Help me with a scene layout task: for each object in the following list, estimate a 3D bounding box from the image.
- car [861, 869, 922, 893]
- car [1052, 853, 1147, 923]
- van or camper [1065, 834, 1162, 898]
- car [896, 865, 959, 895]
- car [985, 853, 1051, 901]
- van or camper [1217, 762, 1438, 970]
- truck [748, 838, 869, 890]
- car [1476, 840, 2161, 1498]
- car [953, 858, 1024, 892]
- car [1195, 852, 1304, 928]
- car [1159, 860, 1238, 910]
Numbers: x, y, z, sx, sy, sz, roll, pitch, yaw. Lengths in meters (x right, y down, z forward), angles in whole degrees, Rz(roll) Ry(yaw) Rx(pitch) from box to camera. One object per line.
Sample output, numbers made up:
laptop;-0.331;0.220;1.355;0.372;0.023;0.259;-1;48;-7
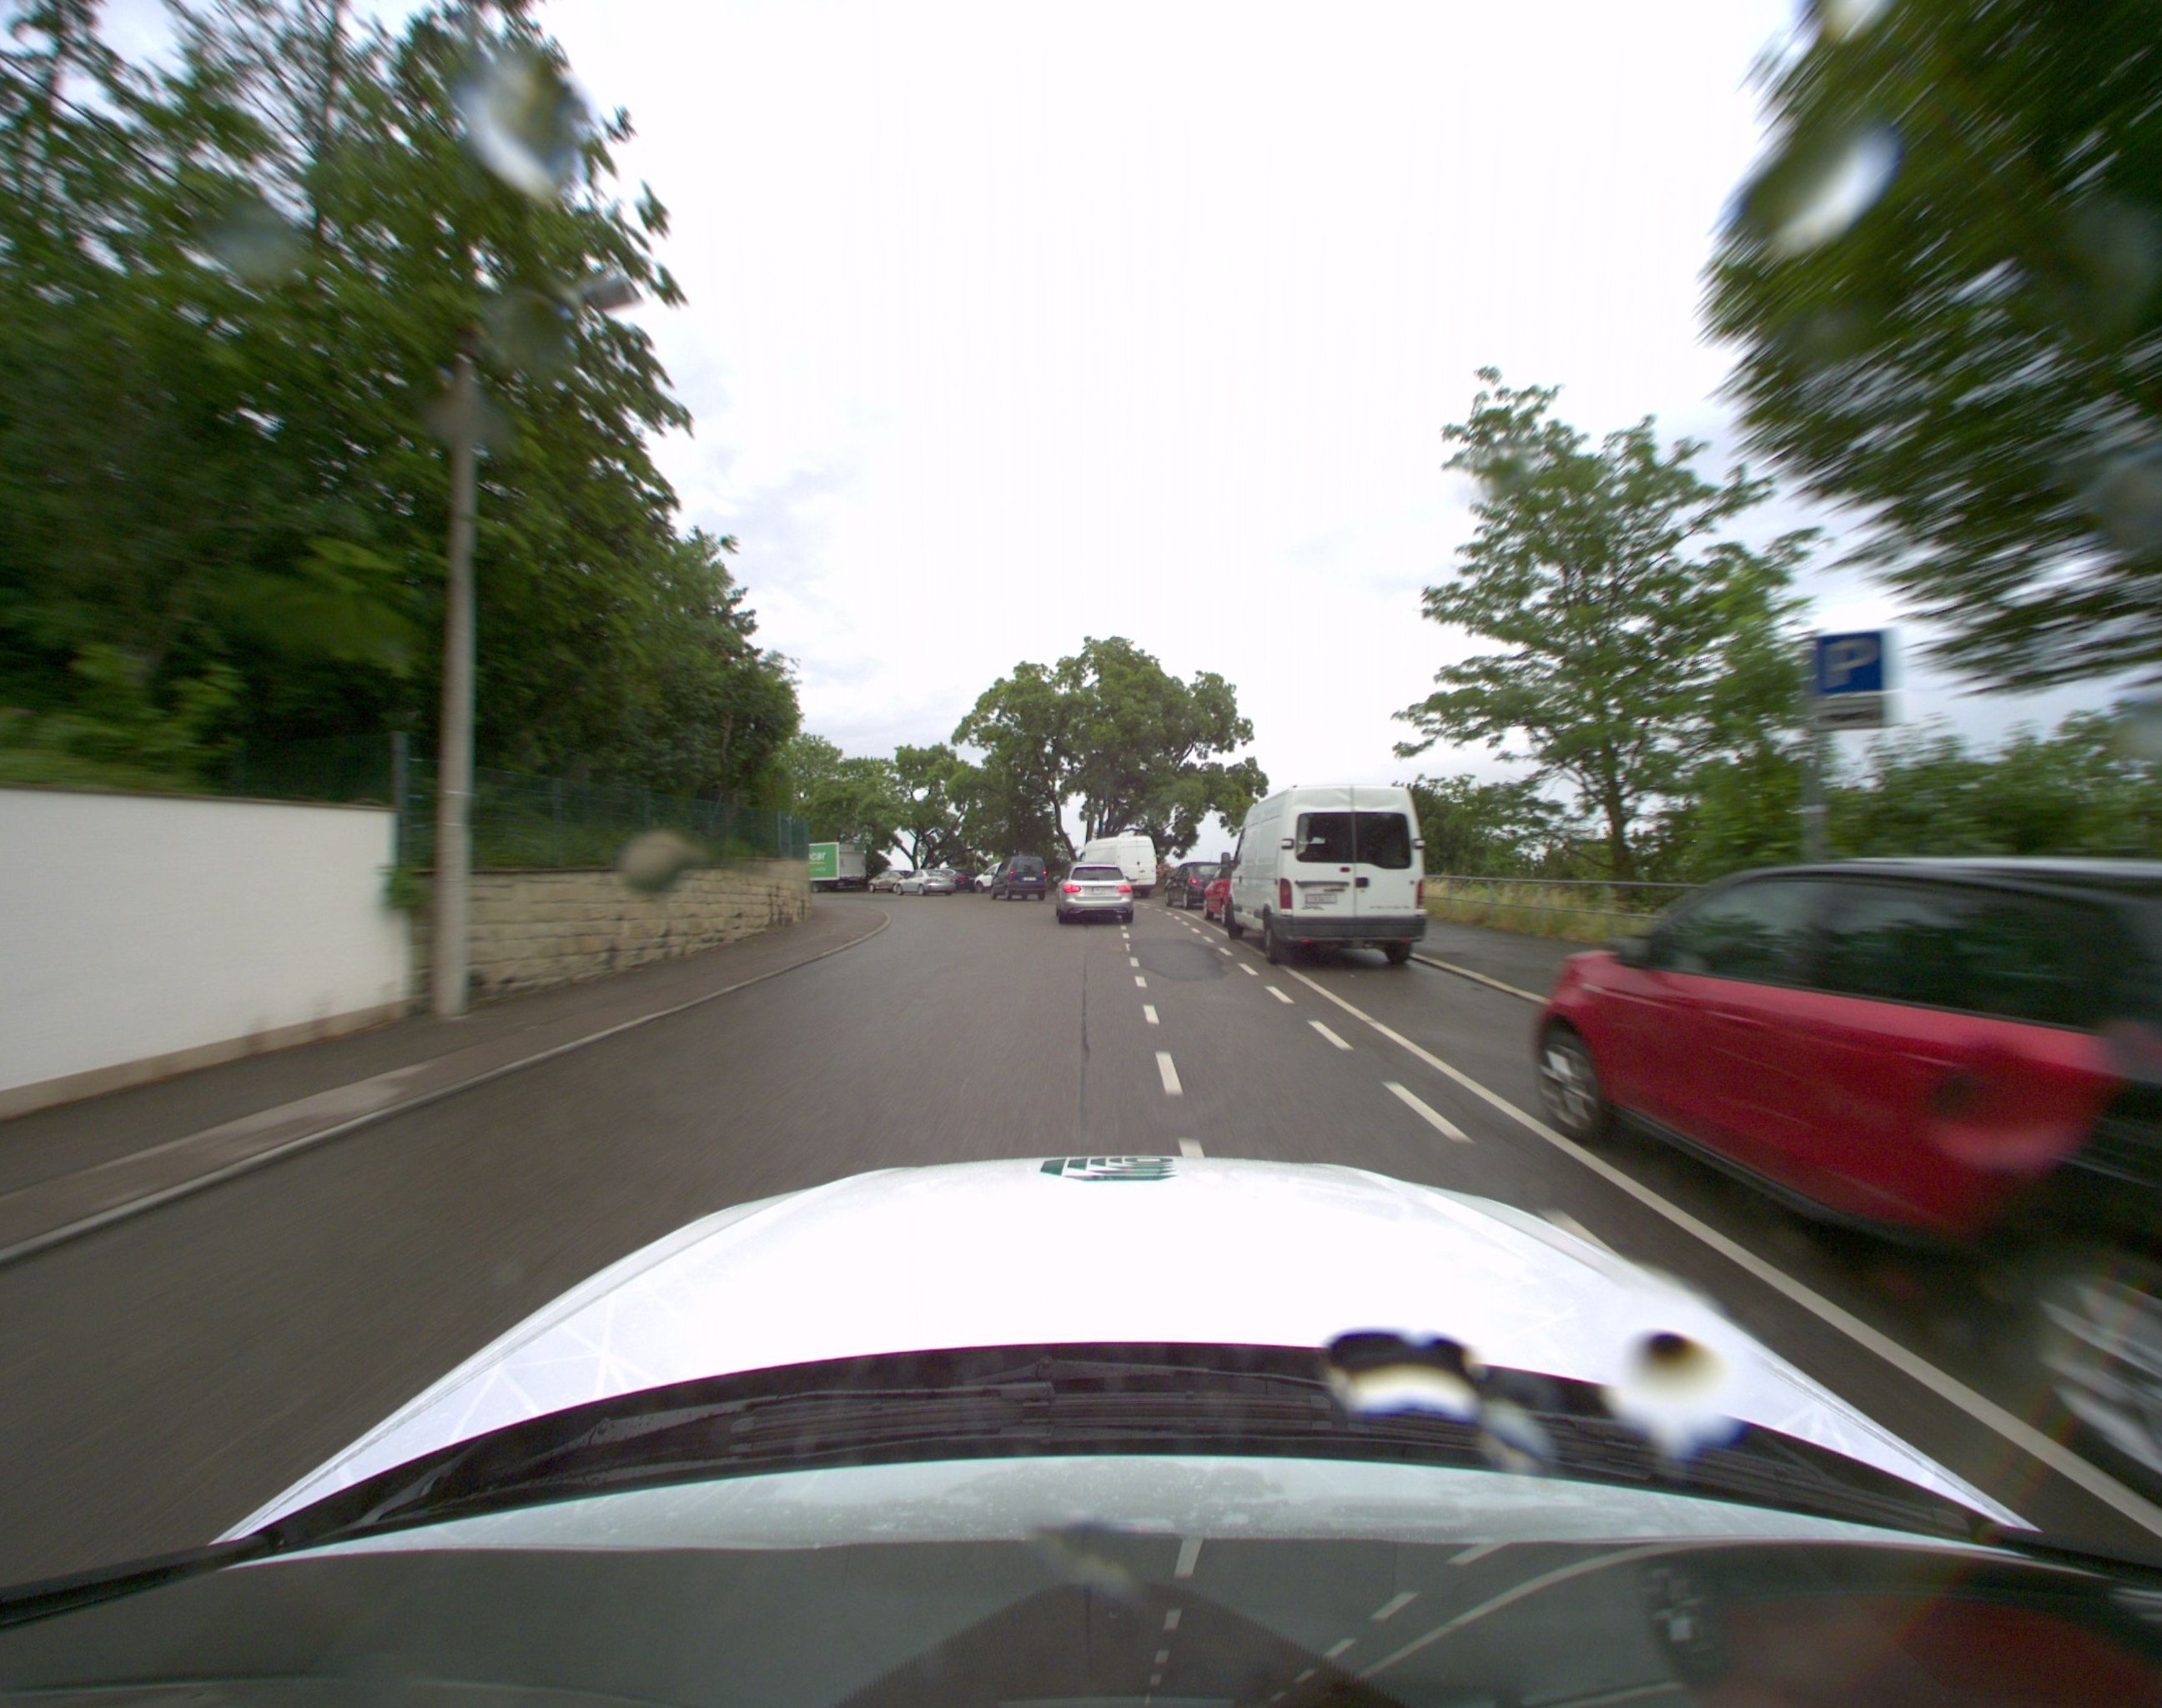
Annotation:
car;-12.588;1.795;54.059;4.082;1.503;1.750;-2;0;38
car;0.352;0.827;20.610;1.979;1.554;4.290;-1;-2;-5
van or camper;1.336;0.522;36.712;2.075;2.580;5.843;-2;0;-22
car;-8.366;1.400;44.220;1.867;1.458;4.051;-2;0;-35
car;-2.755;0.961;34.913;1.830;1.883;4.068;-2;0;-19
van or camper;3.637;0.152;13.287;2.066;2.661;5.598;0;0;2
truck;-19.589;0.782;58.326;8.821;3.471;2.799;-1;-1;27
car;3.400;0.727;3.436;1.676;1.540;3.834;-1;0;1
car;-5.408;1.221;47.340;1.762;1.821;4.368;-1;-1;-44
car;3.827;0.766;19.132;1.615;1.540;4.214;-2;0;-1
car;3.708;0.942;26.390;1.692;1.444;3.941;-2;0;-4
